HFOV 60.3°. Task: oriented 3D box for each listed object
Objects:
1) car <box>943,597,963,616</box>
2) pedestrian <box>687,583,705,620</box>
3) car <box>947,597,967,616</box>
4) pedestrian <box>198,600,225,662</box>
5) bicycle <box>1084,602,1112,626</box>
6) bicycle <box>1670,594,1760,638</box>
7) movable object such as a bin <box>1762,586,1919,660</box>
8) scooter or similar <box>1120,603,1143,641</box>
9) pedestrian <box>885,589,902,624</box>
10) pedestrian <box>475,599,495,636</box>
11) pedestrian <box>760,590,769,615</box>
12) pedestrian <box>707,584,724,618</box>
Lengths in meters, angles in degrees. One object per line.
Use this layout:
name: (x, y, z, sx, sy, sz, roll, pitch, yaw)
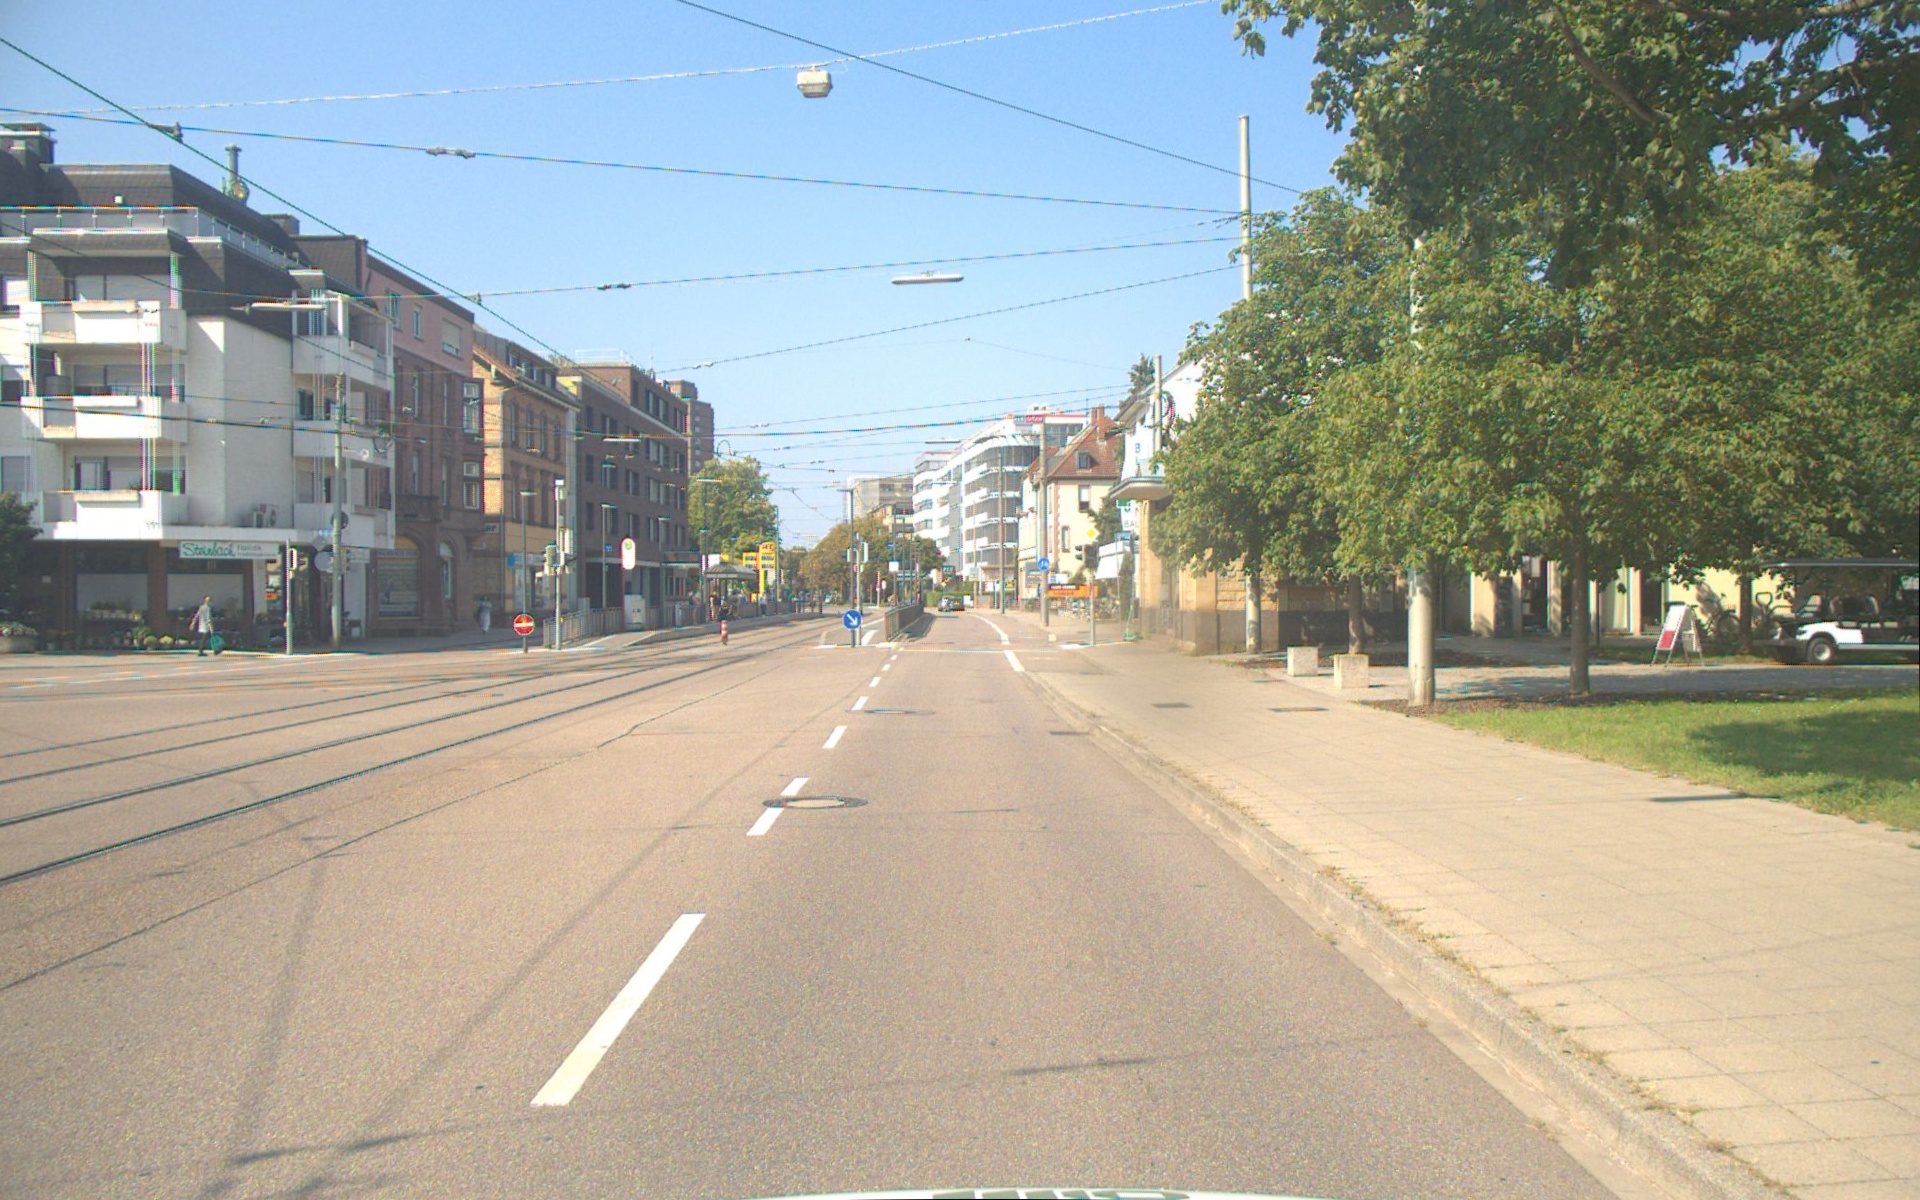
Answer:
car: (-0.776, 0.683, 178.387, 1.970, 1.891, 4.000, -2, 0, 1)
pedestrian: (-12.933, 0.086, 80.974, 0.693, 1.753, 0.799, -2, 0, 0)
car: (-0.296, 0.685, 172.341, 1.970, 1.891, 4.000, -2, 0, 1)
pedestrian: (-22.069, 0.915, 48.783, 0.593, 1.775, 0.559, -2, 0, -34)
bicycle: (6.900, 0.706, 82.870, 0.717, 1.152, 2.835, -4, 0, -7)
bicycle: (17.176, 0.360, 37.630, 1.865, 0.997, 0.427, 0, 0, -1)
movable object such as a bin: (16.868, 0.417, 31.021, 3.044, 1.321, 1.300, -1, 0, -3)
scooter or similar: (5.291, 0.676, 51.162, 0.512, 1.153, 1.511, -2, 0, 0)
pedestrian: (-3.340, 0.326, 83.061, 0.705, 1.733, 0.884, -2, 0, 1)
pedestrian: (-20.642, 0.761, 71.891, 0.472, 1.587, 0.888, 0, -1, 11)
pedestrian: (-12.258, 0.144, 103.831, 0.522, 1.556, 0.700, -2, 0, -6)
pedestrian: (-12.977, 0.073, 87.715, 0.693, 1.777, 0.799, -2, 0, 0)
